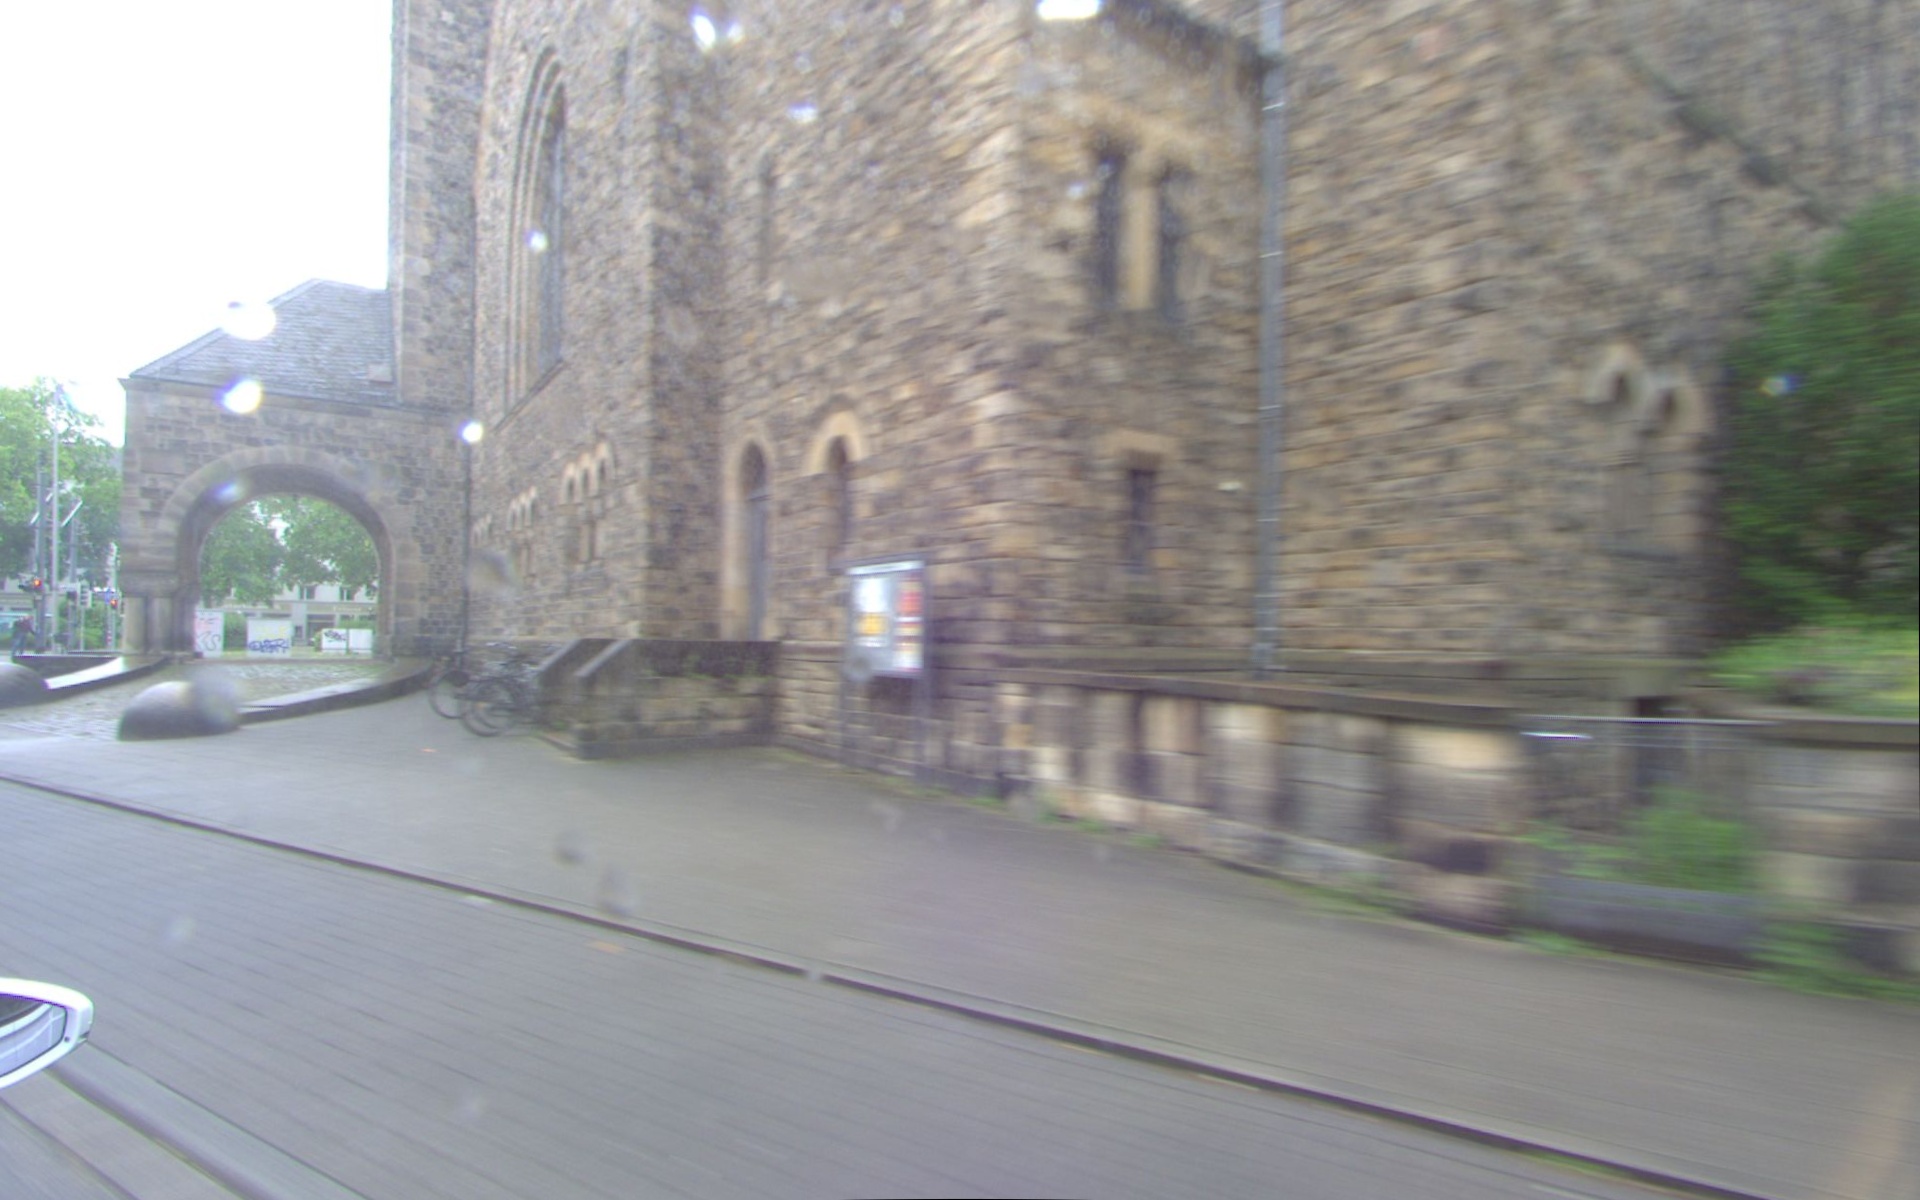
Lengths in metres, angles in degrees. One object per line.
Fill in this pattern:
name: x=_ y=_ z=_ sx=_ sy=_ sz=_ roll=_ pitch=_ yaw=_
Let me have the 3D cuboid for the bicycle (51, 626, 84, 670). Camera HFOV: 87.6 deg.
bicycle: x=-24.949 y=1.319 z=27.995 sx=2.049 sy=1.169 sz=0.327 roll=0 pitch=-1 yaw=39

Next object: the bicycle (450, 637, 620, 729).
bicycle: x=-5.450 y=1.032 z=12.947 sx=1.971 sy=1.068 sz=0.508 roll=0 pitch=0 yaw=-44

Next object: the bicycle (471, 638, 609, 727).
bicycle: x=-5.867 y=1.123 z=14.038 sx=1.697 sy=1.126 sz=0.556 roll=0 pitch=0 yaw=-44

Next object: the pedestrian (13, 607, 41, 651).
pedestrian: x=-38.304 y=1.177 z=41.125 sx=0.780 sy=1.782 sz=0.937 roll=1 pitch=-1 yaw=-42

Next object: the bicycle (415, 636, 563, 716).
bicycle: x=-7.276 y=1.141 z=15.541 sx=0.684 sy=1.119 sz=1.972 roll=-1 pitch=0 yaw=44
